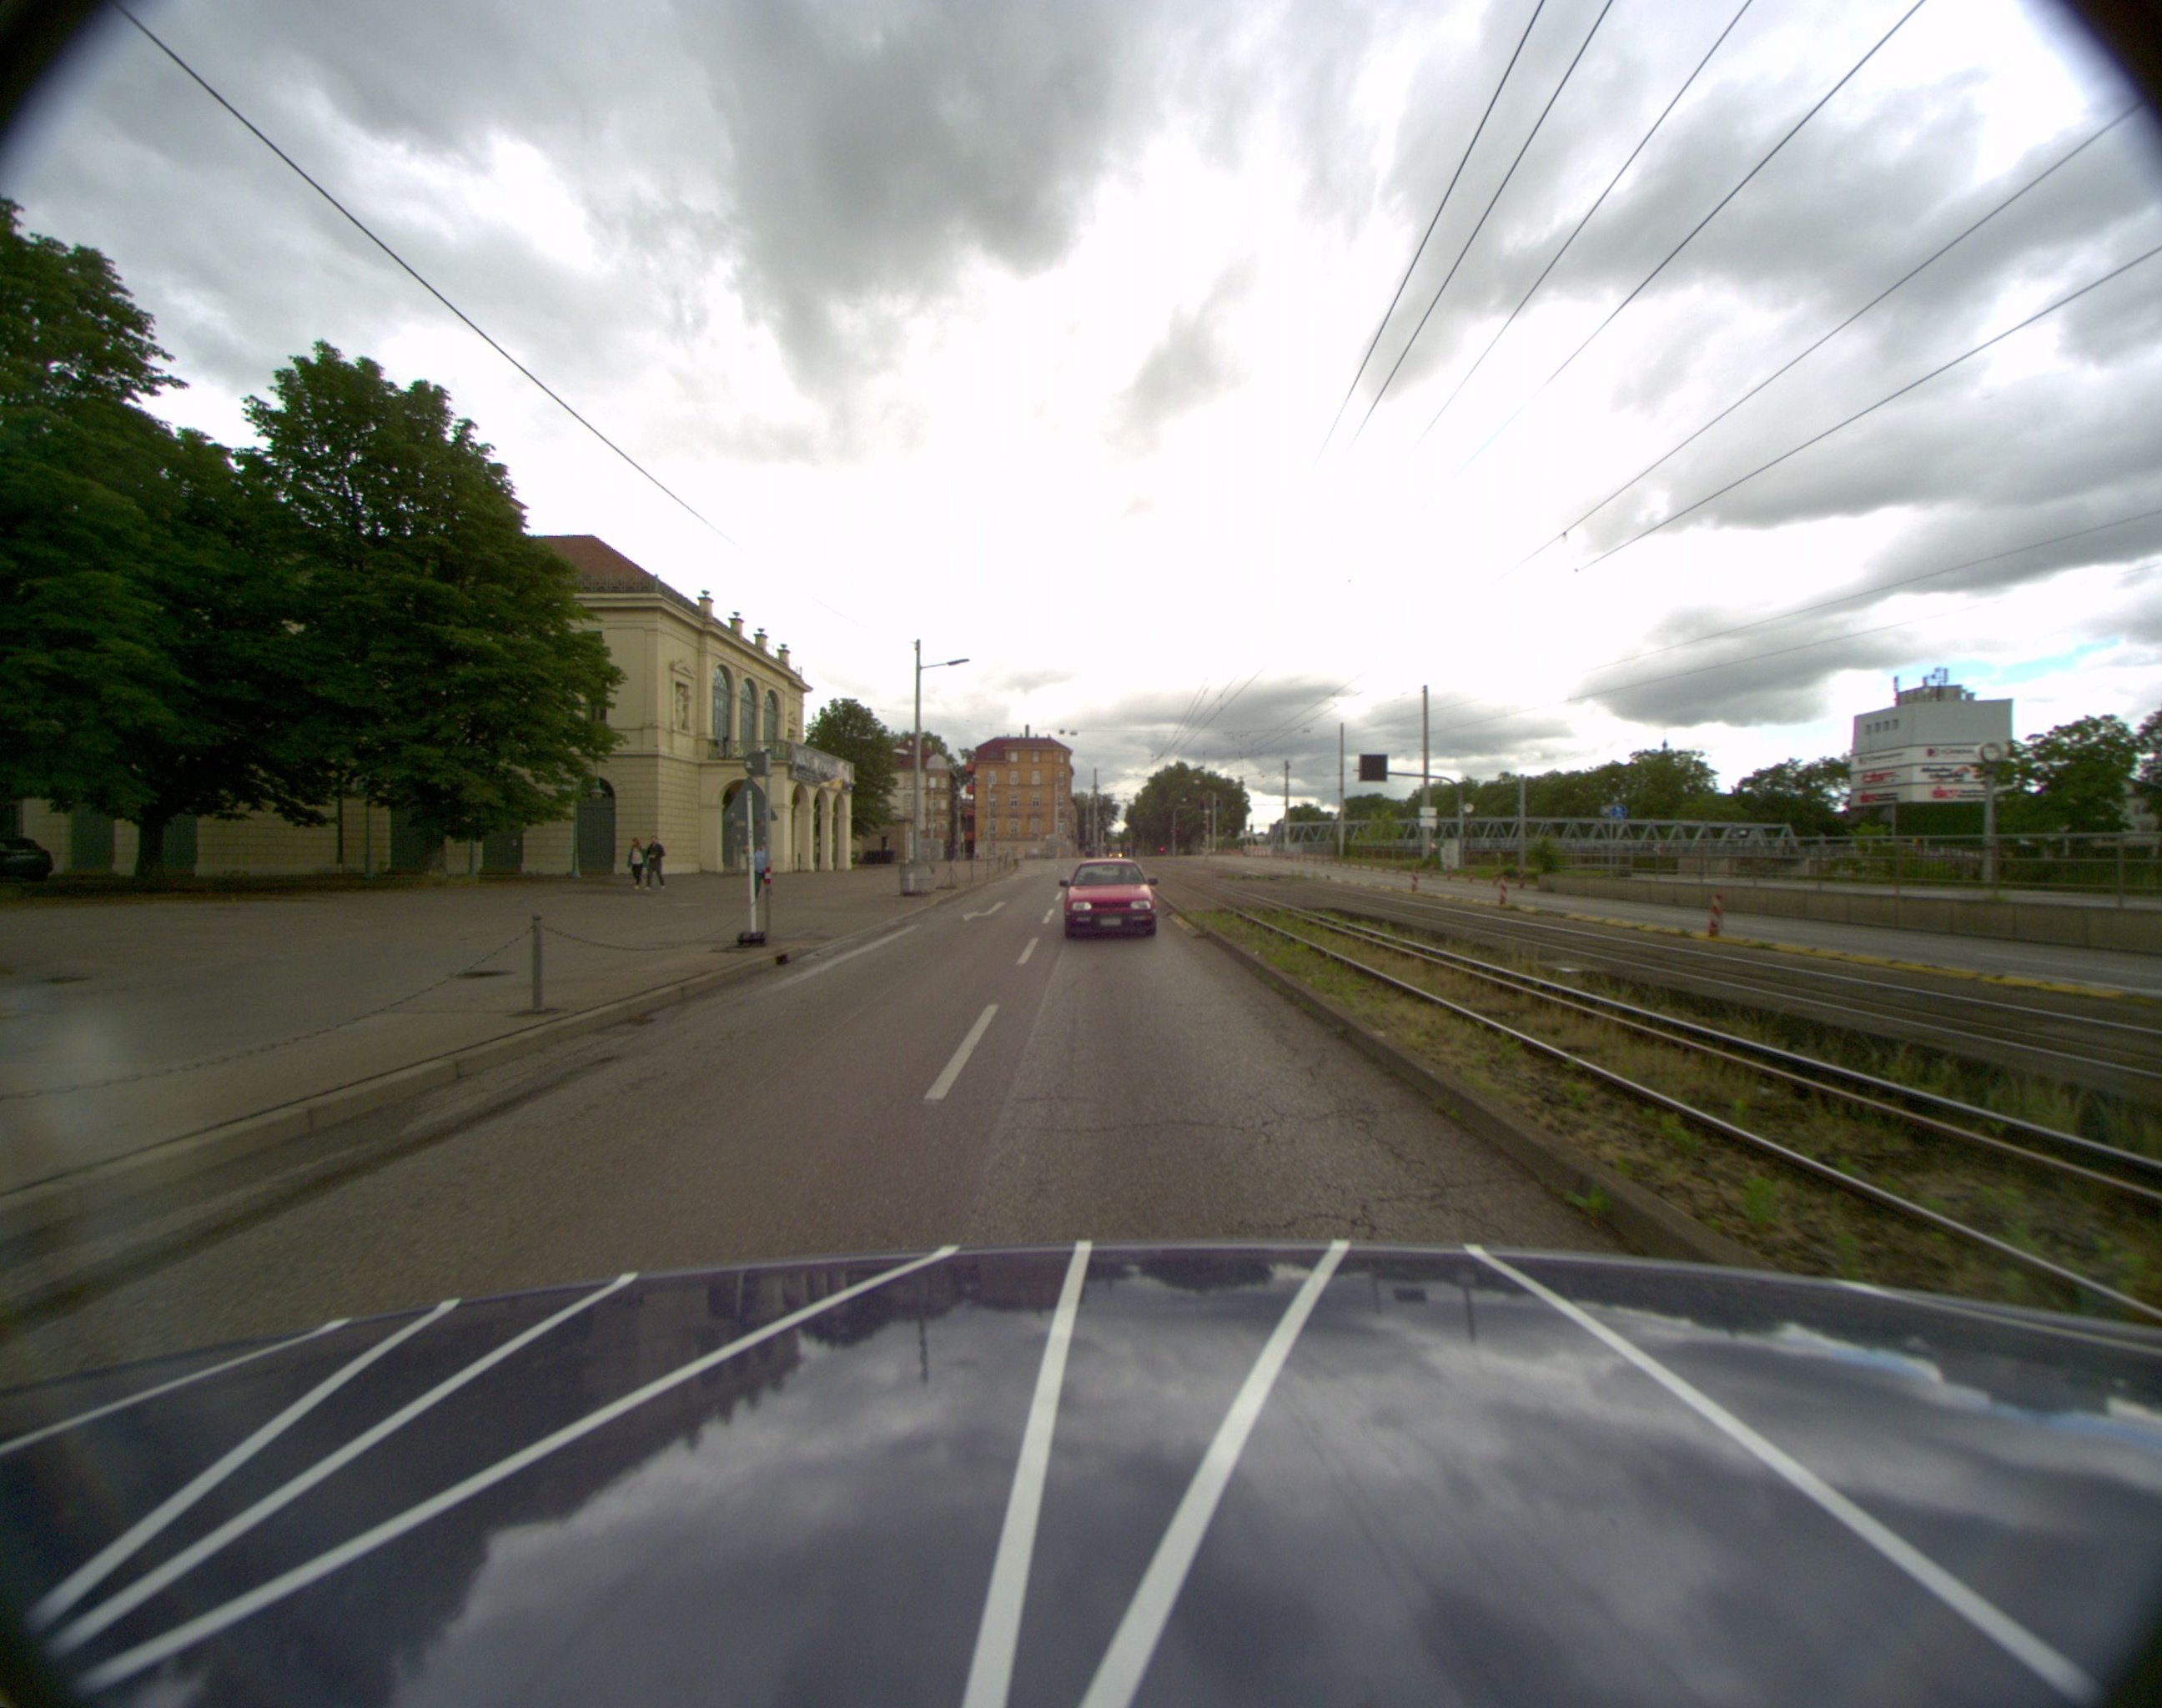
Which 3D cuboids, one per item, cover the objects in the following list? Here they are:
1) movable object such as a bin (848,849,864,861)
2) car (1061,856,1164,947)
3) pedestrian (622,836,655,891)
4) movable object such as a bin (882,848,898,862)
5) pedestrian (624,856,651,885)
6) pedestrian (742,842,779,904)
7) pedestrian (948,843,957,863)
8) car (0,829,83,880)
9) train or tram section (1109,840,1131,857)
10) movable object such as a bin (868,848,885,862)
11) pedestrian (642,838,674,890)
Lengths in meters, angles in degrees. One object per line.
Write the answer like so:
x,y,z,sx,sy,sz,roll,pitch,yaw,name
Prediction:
-22.987,0.113,77.723,1.297,1.274,1.193,0,1,0,movable object such as a bin
0.558,0.814,14.841,1.681,1.434,4.119,-2,0,1,car
-14.482,0.303,24.881,0.596,1.782,0.808,0,1,1,pedestrian
-19.663,0.077,78.210,1.297,1.361,1.379,0,1,0,movable object such as a bin
-15.488,0.577,26.534,0.760,0.995,0.595,0,1,-34,pedestrian
-9.324,0.539,22.130,0.672,1.758,0.936,0,1,1,pedestrian
-11.748,-0.097,69.564,0.672,1.758,0.936,0,1,1,pedestrian
-36.645,0.055,25.481,3.787,1.642,1.900,-2,1,1,car
8.251,-1.257,162.071,3.739,3.346,17.551,1,1,0,train or tram section
-21.032,0.128,78.196,1.297,1.398,1.379,0,1,0,movable object such as a bin
-13.866,0.319,24.923,0.598,1.689,0.790,0,1,1,pedestrian
